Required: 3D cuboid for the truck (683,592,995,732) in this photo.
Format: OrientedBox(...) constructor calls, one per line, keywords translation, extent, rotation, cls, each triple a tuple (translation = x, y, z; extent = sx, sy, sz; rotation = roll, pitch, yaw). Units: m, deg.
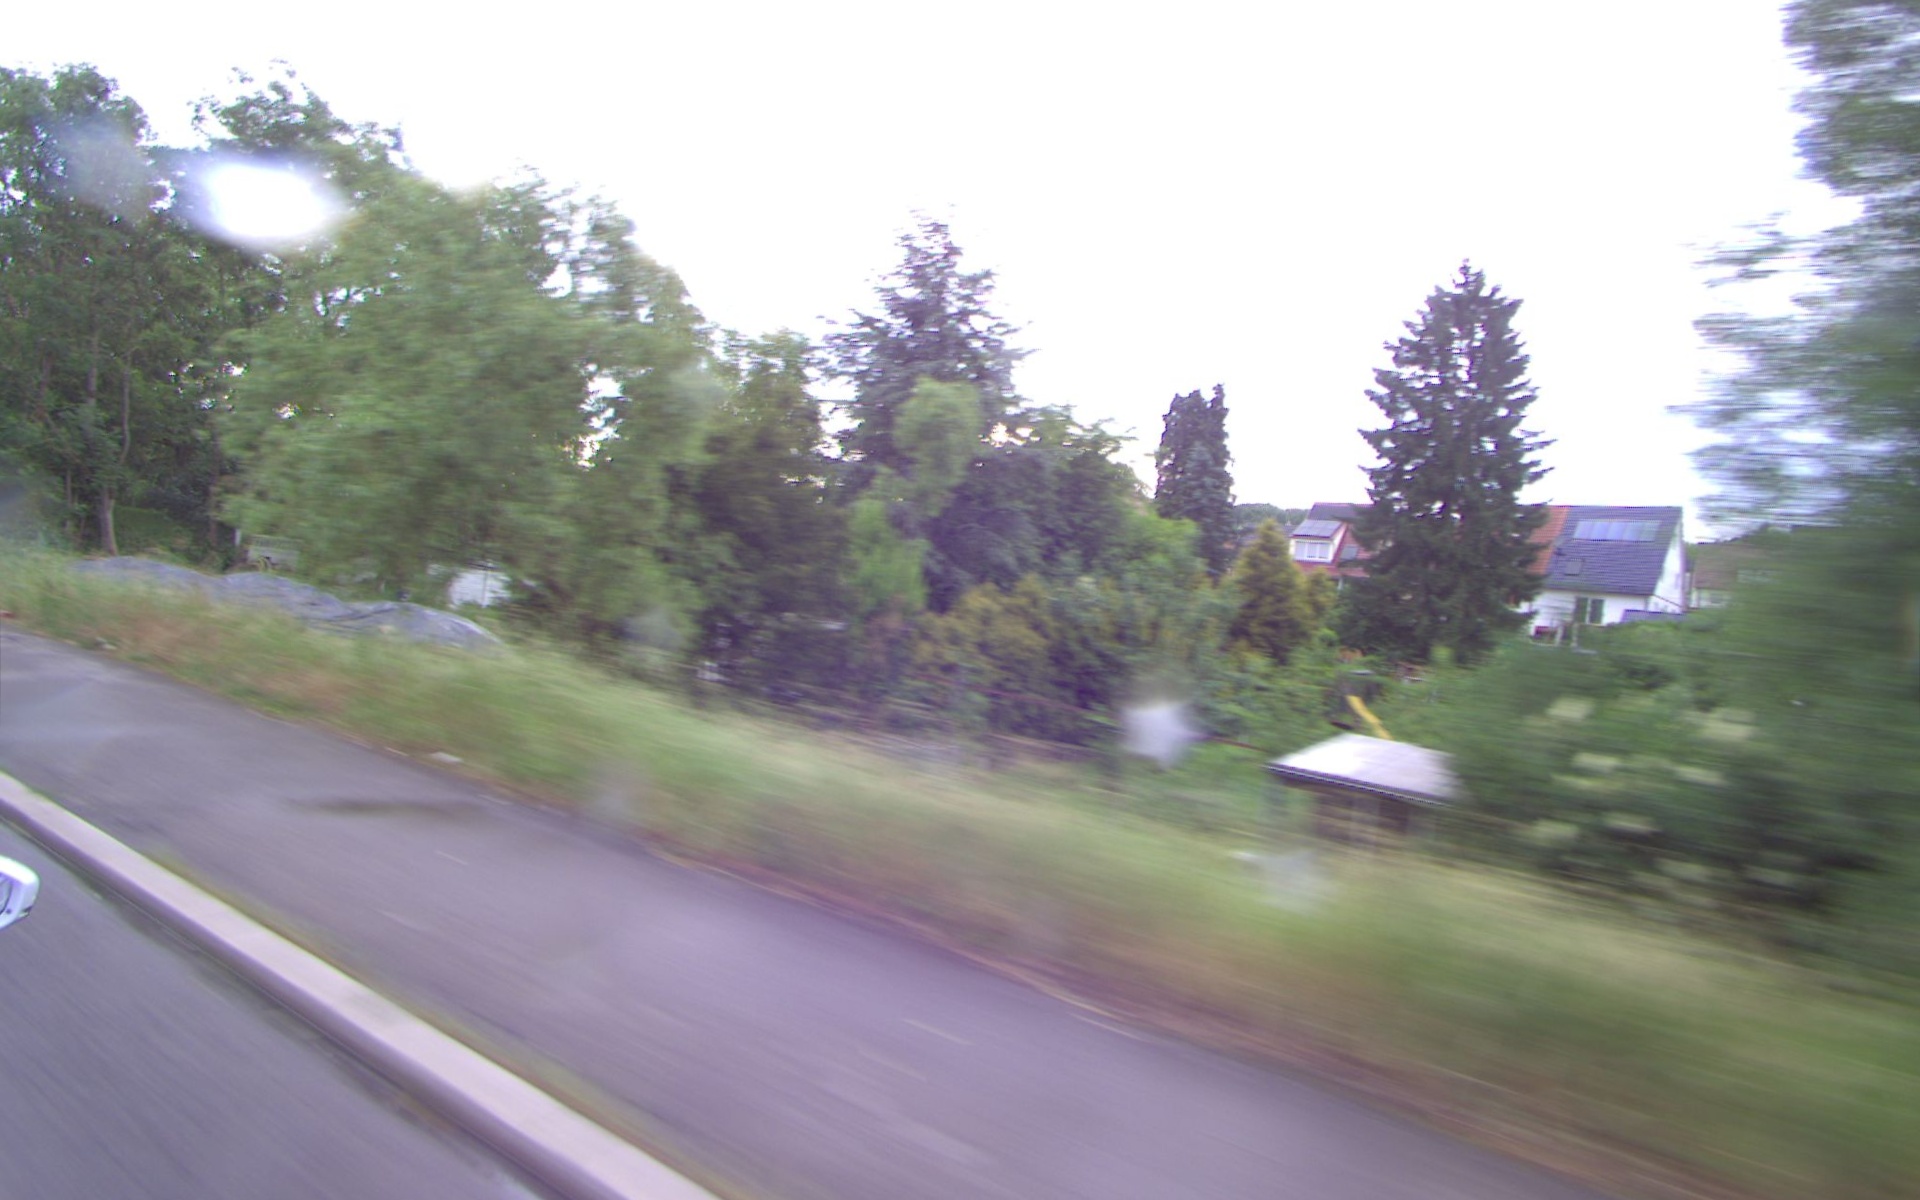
OrientedBox(translation=(-2.346, 1.491, 22.026), extent=(2.038, 2.386, 7.038), rotation=(7, -2, 41), cls="truck")
